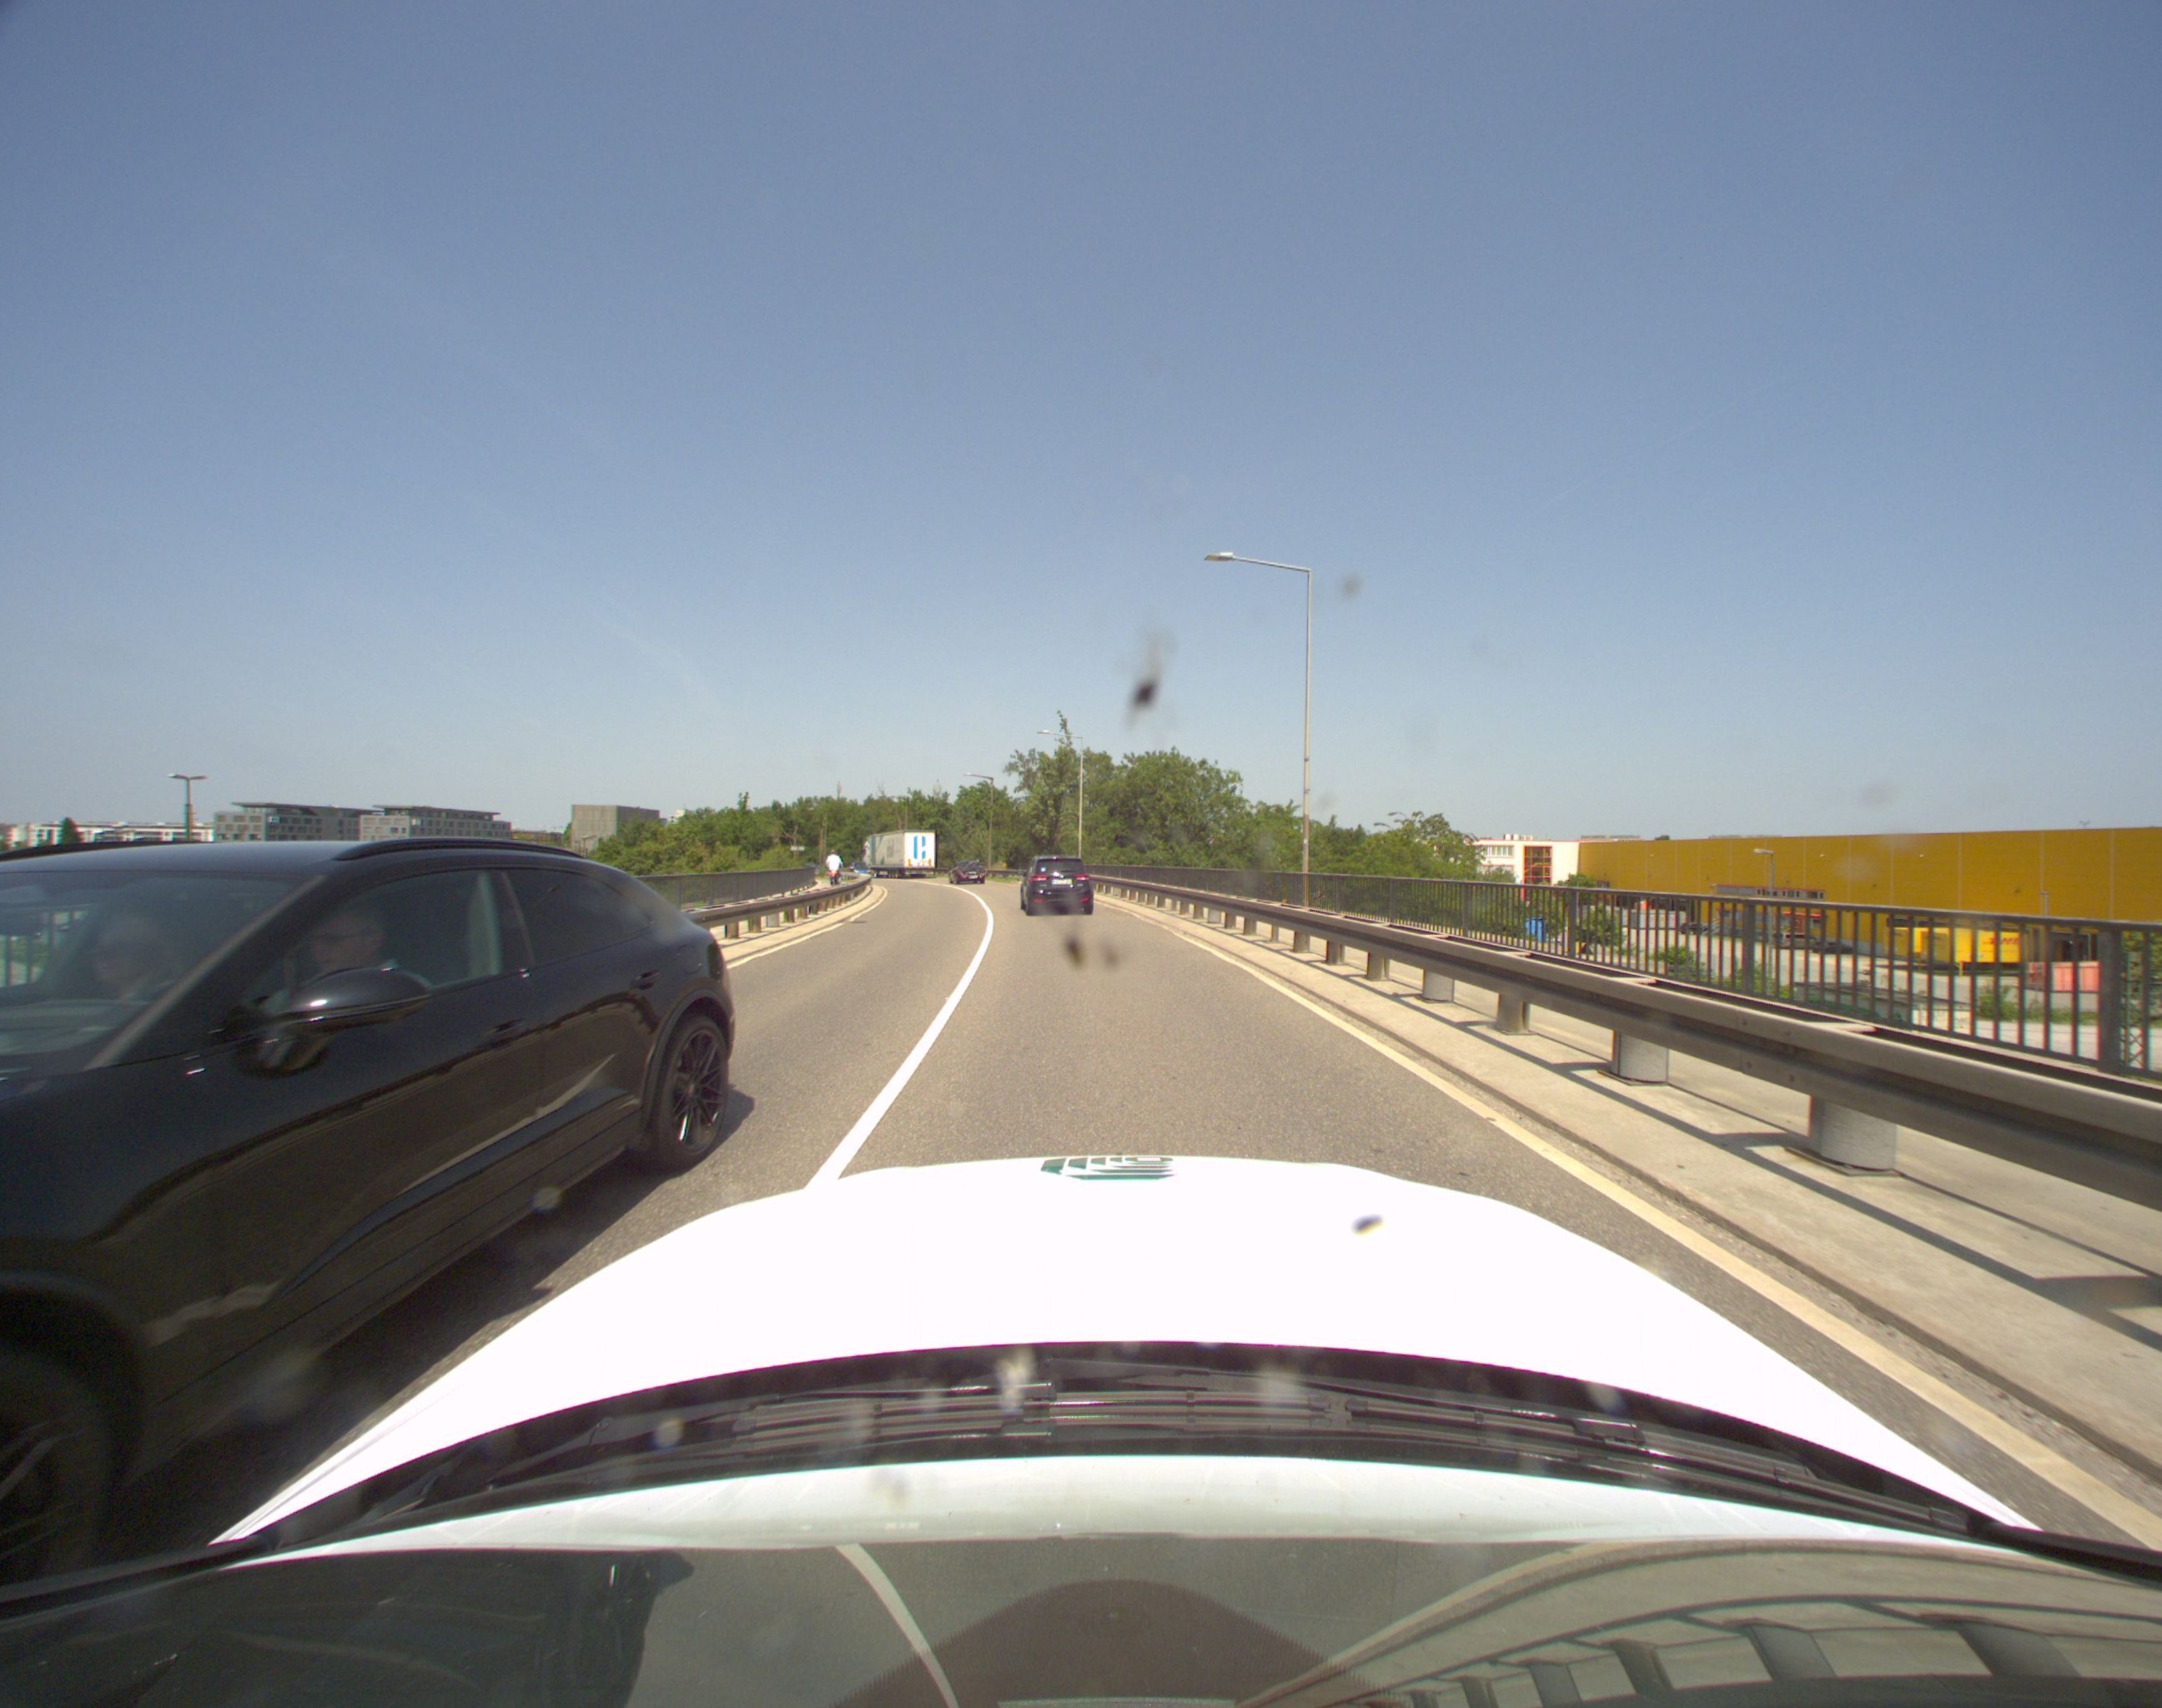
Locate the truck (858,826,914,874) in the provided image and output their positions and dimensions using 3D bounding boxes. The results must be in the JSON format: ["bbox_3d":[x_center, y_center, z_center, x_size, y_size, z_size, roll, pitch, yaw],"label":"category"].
[{"bbox_3d":[-18.841,-0.391,78.282,3.594,4.440,6.454,-1,1,-29],"label":"truck"}]

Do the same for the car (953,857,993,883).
[{"bbox_3d":[-6.583,0.950,49.318,2.014,1.429,3.759,-1,1,-14],"label":"car"}]

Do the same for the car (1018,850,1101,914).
[{"bbox_3d":[-0.682,0.697,22.685,1.920,1.574,3.882,-1,1,-7],"label":"car"}]

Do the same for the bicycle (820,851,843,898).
[{"bbox_3d":[-10.031,0.783,32.825,0.699,1.801,2.171,-1,1,-13],"label":"bicycle"}]

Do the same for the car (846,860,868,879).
[{"bbox_3d":[-18.925,1.310,68.876,1.602,1.486,2.730,-1,1,-20],"label":"car"}]

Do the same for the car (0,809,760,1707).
[{"bbox_3d":[-2.826,0.718,2.605,1.887,1.596,4.484,-1,1,-2],"label":"car"}]

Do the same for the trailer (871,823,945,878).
[{"bbox_3d":[-15.403,-0.328,71.598,3.589,4.384,11.342,-1,1,-26],"label":"trailer"}]

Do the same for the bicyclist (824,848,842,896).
[{"bbox_3d":[-10.012,0.715,32.887,0.625,1.886,0.709,-1,0,-14],"label":"bicyclist"}]
